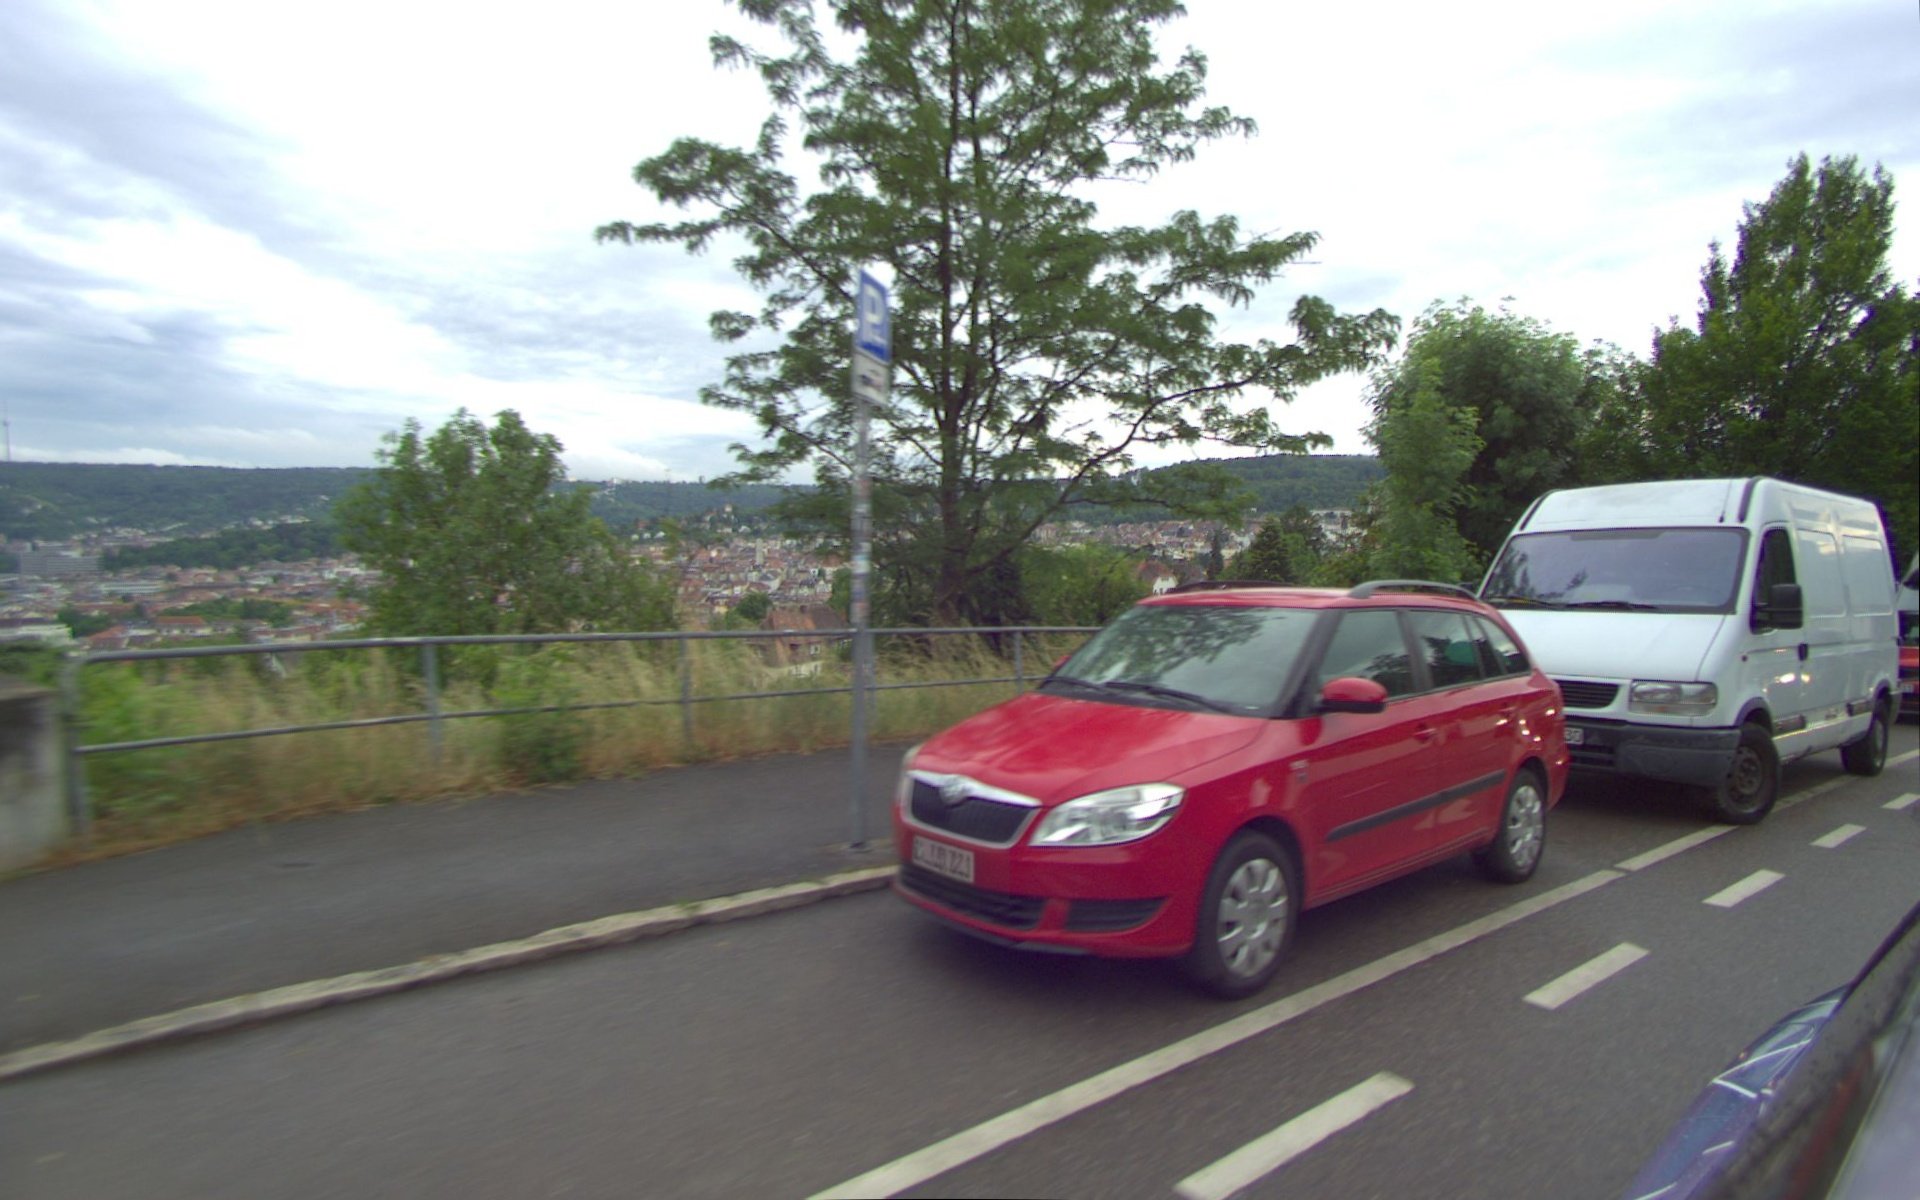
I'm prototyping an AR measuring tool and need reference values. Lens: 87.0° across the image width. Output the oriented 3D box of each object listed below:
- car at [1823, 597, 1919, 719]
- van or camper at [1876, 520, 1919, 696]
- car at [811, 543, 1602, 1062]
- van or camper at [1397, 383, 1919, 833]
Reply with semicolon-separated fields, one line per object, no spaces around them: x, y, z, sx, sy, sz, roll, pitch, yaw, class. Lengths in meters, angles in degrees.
13.994;0.796;14.524;3.762;1.559;1.687;1;1;-38;car
18.619;0.180;18.195;5.621;2.946;2.131;1;0;-37;van or camper
1.484;0.602;4.992;4.139;1.559;1.624;1;1;-40;car
6.180;0.058;8.554;5.491;2.694;2.080;1;1;-37;van or camper
